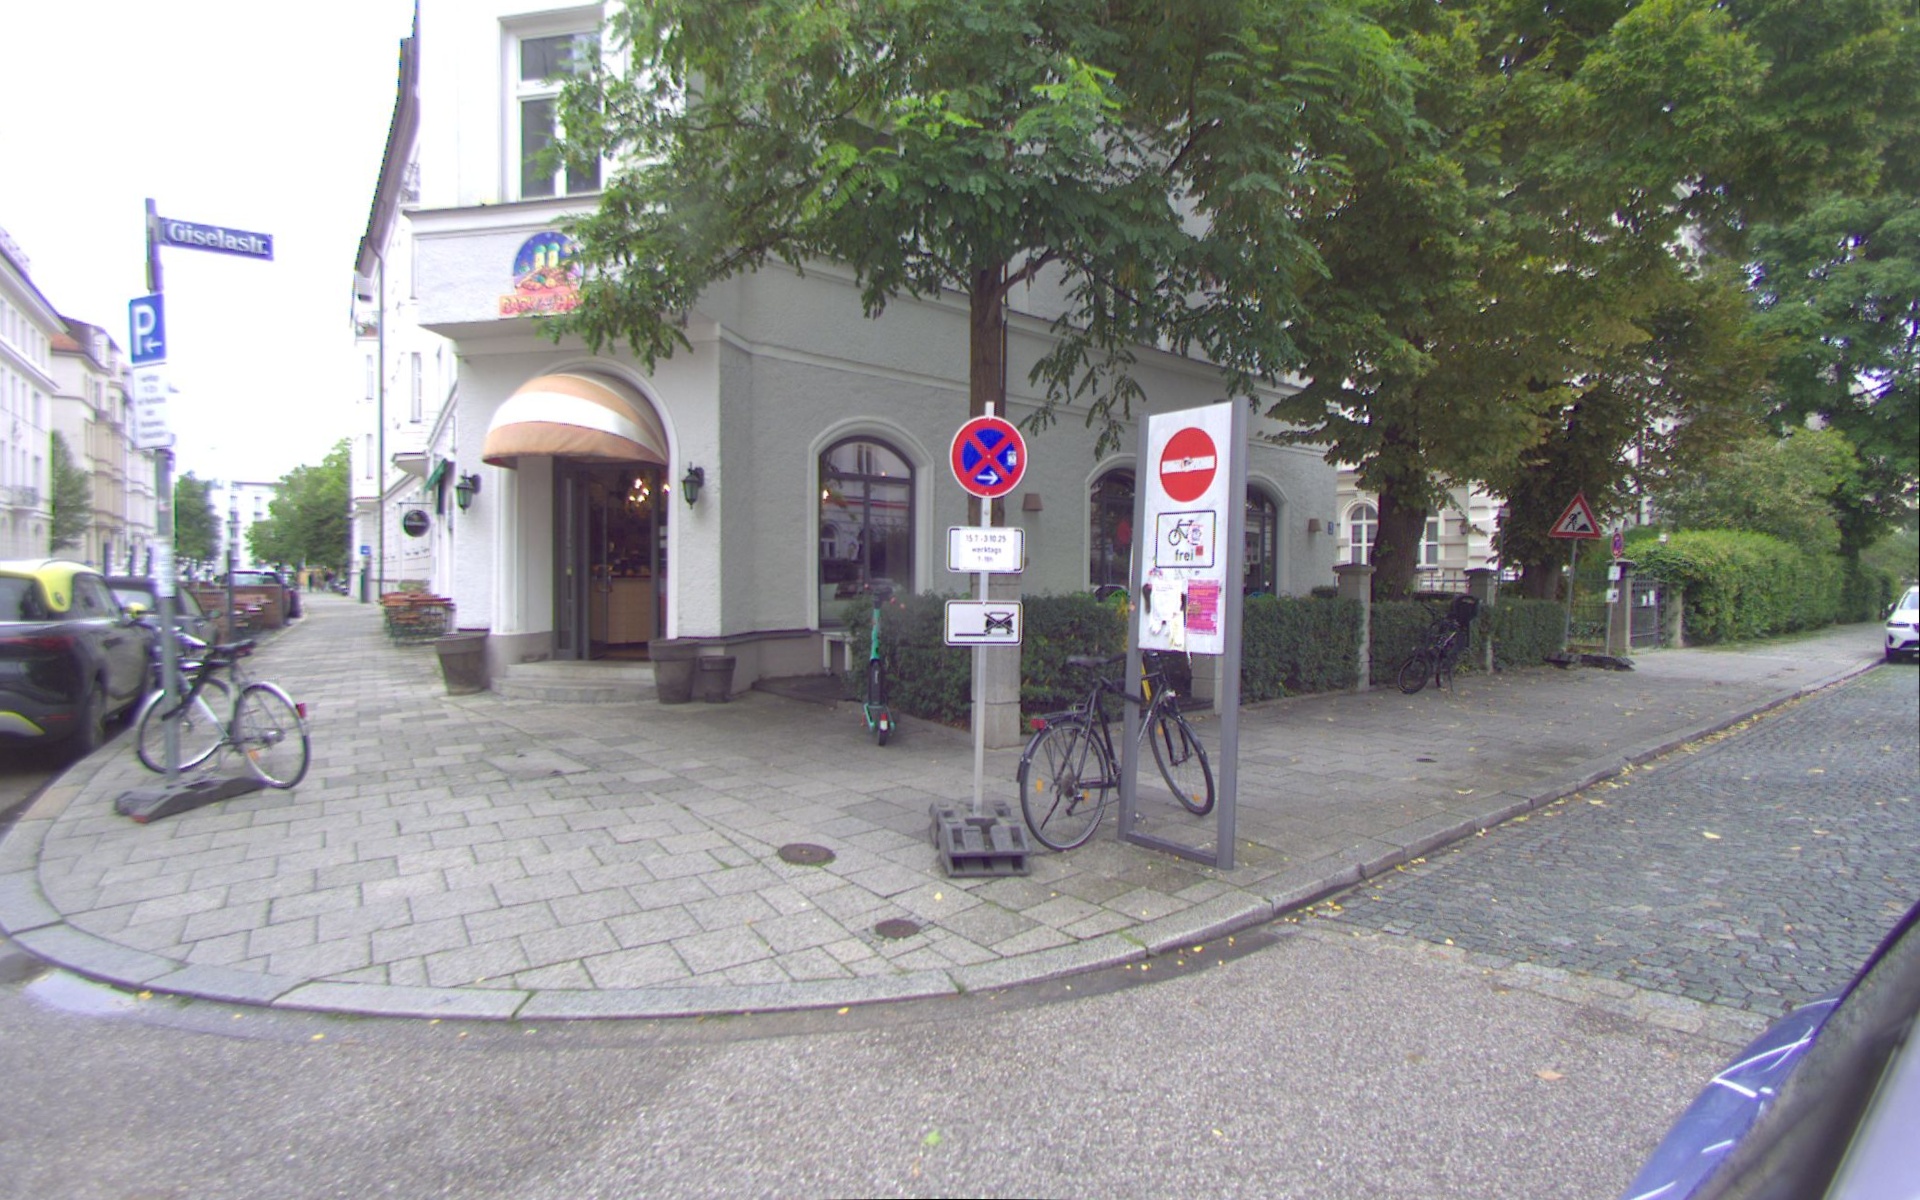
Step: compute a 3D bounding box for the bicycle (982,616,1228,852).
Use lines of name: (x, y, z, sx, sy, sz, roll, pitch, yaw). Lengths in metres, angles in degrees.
bicycle: (0.868, 0.700, 5.818, 1.559, 1.161, 0.389, -1, 2, -35)

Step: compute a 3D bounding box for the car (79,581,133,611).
car: (-46.471, -0.254, 55.143, 1.963, 1.528, 3.999, -1, 1, -36)

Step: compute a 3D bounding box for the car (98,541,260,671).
car: (-13.510, 0.048, 17.729, 1.739, 1.994, 3.936, -1, 1, -30)

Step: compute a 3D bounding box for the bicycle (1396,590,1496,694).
bicycle: (6.257, 0.502, 12.991, 1.701, 1.212, 0.429, -1, 6, -41)

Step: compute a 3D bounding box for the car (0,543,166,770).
car: (-8.297, 0.374, 8.718, 1.868, 1.617, 4.091, -1, 1, -32)

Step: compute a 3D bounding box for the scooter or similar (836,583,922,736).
scooter or similar: (-0.766, 0.480, 9.164, 0.396, 1.186, 1.612, 0, 4, -18)

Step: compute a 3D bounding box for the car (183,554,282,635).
car: (-17.770, -0.172, 24.871, 1.708, 1.835, 4.003, -1, 1, -32)

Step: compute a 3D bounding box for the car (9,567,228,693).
car: (-11.067, 0.298, 13.566, 1.667, 1.443, 3.544, -1, 1, -30)

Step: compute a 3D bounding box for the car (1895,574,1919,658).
car: (21.977, 0.308, 22.032, 4.554, 1.706, 1.924, -2, 2, -41)

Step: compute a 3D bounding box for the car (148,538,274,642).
car: (-15.553, -0.229, 21.182, 1.696, 1.959, 3.664, -1, 1, -30)

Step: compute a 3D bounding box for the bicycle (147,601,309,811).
bicycle: (-4.860, 0.614, 6.687, 0.726, 1.081, 1.606, -5, 6, -38)
